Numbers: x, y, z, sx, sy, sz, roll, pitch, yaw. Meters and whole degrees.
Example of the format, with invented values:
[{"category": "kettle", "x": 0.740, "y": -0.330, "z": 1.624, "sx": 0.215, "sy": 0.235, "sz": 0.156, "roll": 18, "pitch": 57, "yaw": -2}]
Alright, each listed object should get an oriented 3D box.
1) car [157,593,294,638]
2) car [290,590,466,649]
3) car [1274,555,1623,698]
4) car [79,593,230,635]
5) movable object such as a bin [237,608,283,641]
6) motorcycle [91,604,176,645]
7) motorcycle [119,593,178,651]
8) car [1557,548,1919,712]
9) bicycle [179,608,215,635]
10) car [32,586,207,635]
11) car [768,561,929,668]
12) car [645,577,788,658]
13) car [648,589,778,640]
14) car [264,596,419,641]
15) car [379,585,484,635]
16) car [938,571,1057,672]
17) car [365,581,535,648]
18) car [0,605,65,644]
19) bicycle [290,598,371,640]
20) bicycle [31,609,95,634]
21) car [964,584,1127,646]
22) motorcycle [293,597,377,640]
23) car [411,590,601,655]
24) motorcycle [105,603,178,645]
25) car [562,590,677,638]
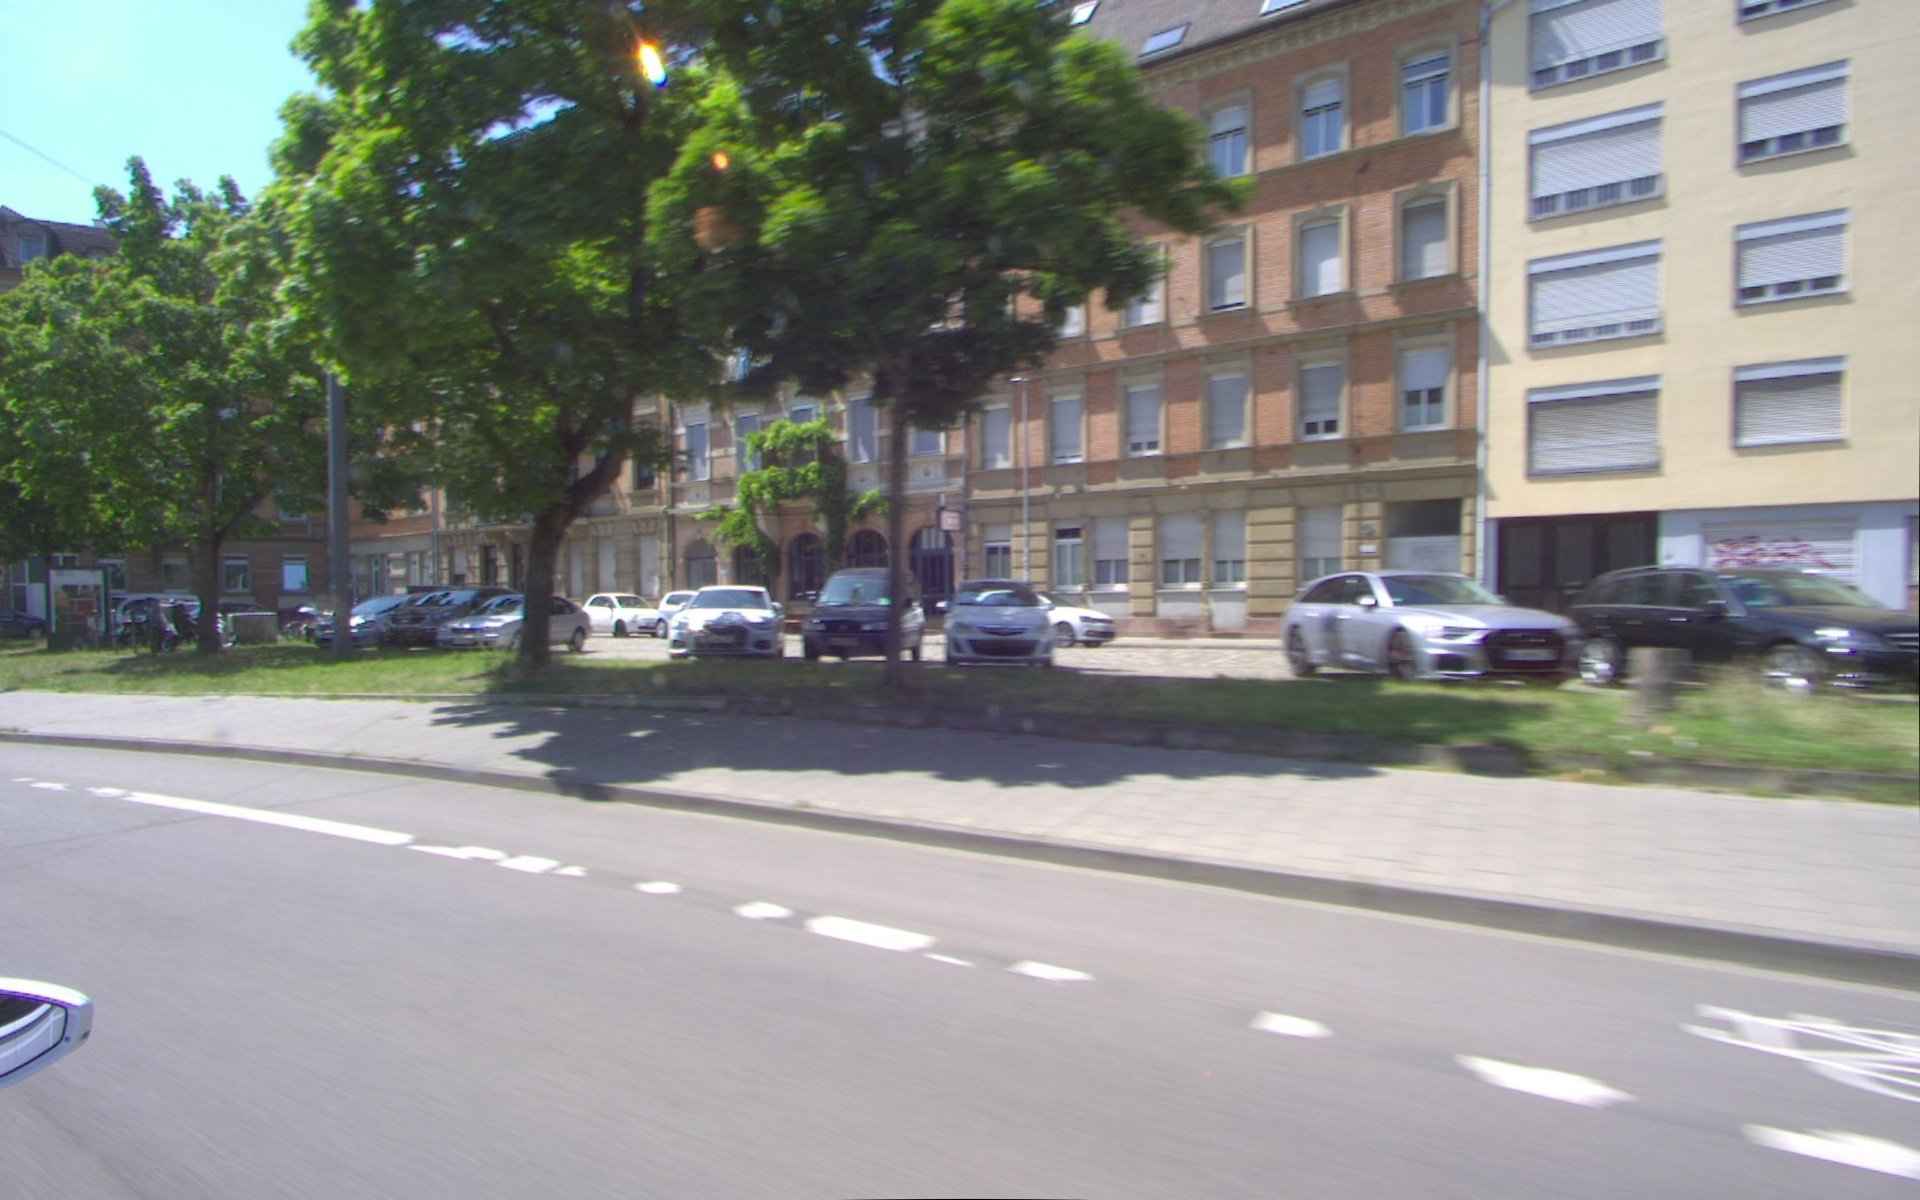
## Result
[{"category": "car", "x": -24.810, "y": 0.512, "z": 33.983, "sx": 1.576, "sy": 1.451, "sz": 3.869, "roll": 0, "pitch": -1, "yaw": 5}, {"category": "car", "x": -14.797, "y": 0.483, "z": 25.775, "sx": 1.552, "sy": 1.394, "sz": 4.347, "roll": 0, "pitch": -1, "yaw": 8}, {"category": "car", "x": 5.725, "y": 0.305, "z": 12.557, "sx": 1.934, "sy": 1.446, "sz": 4.693, "roll": 0, "pitch": -1, "yaw": -2}, {"category": "car", "x": -27.517, "y": 0.482, "z": 34.384, "sx": 1.725, "sy": 1.349, "sz": 4.000, "roll": 0, "pitch": -1, "yaw": 7}, {"category": "movable object such as a bin", "x": -19.979, "y": 0.693, "z": 28.573, "sx": 0.980, "sy": 0.949, "sz": 0.694, "roll": 0, "pitch": 0, "yaw": -45}, {"category": "motorcycle", "x": -23.635, "y": 0.705, "z": 28.668, "sx": 0.520, "sy": 1.135, "sz": 1.821, "roll": 0, "pitch": 0, "yaw": 27}, {"category": "motorcycle", "x": -20.829, "y": 0.553, "z": 25.699, "sx": 1.831, "sy": 1.432, "sz": 0.673, "roll": 0, "pitch": 2, "yaw": 36}, {"category": "car", "x": 8.660, "y": 0.282, "z": 10.559, "sx": 1.934, "sy": 1.356, "sz": 4.432, "roll": 0, "pitch": -1, "yaw": -3}, {"category": "bicycle", "x": -23.420, "y": 0.662, "z": 30.754, "sx": 0.491, "sy": 0.816, "sz": 1.452, "roll": 0, "pitch": 0, "yaw": -22}, {"category": "car", "x": -29.734, "y": 0.384, "z": 35.660, "sx": 1.800, "sy": 1.621, "sz": 4.874, "roll": 0, "pitch": -1, "yaw": 7}, {"category": "car", "x": -1.855, "y": 0.256, "z": 17.955, "sx": 1.934, "sy": 1.683, "sz": 3.999, "roll": 0, "pitch": -1, "yaw": 8}, {"category": "car", "x": -4.466, "y": 0.326, "z": 19.109, "sx": 2.108, "sy": 1.330, "sz": 4.786, "roll": 0, "pitch": -1, "yaw": -7}, {"category": "car", "x": -7.909, "y": 0.457, "z": 31.959, "sx": 3.943, "sy": 1.550, "sz": 1.833, "roll": 0, "pitch": -1, "yaw": 32}, {"category": "car", "x": -20.297, "y": 0.604, "z": 32.959, "sx": 1.935, "sy": 1.394, "sz": 3.967, "roll": 0, "pitch": -1, "yaw": 42}, {"category": "car", "x": -21.607, "y": 0.417, "z": 40.893, "sx": 4.590, "sy": 1.929, "sz": 1.914, "roll": 0, "pitch": 0, "yaw": 35}, {"category": "car", "x": 0.588, "y": 0.327, "z": 16.163, "sx": 1.679, "sy": 1.418, "sz": 4.000, "roll": 0, "pitch": -1, "yaw": 2}, {"category": "car", "x": -12.342, "y": 0.351, "z": 24.563, "sx": 1.763, "sy": 1.489, "sz": 4.092, "roll": 0, "pitch": -1, "yaw": 7}, {"category": "car", "x": -40.863, "y": 1.035, "z": 42.428, "sx": 4.067, "sy": 1.646, "sz": 1.688, "roll": 0, "pitch": 0, "yaw": -27}, {"category": "bicycle", "x": -19.621, "y": 0.589, "z": 31.262, "sx": 0.625, "sy": 1.252, "sz": 2.066, "roll": 0, "pitch": 0, "yaw": 44}, {"category": "bicycle", "x": -34.314, "y": 0.813, "z": 38.348, "sx": 0.498, "sy": 0.947, "sz": 2.051, "roll": 0, "pitch": -1, "yaw": 3}, {"category": "car", "x": 2.118, "y": 0.374, "z": 25.044, "sx": 3.664, "sy": 1.438, "sz": 1.775, "roll": 0, "pitch": -1, "yaw": 33}, {"category": "motorcycle", "x": -18.807, "y": 0.537, "z": 30.161, "sx": 2.062, "sy": 1.252, "sz": 0.805, "roll": 0, "pitch": 0, "yaw": -41}, {"category": "car", "x": -10.165, "y": 0.486, "z": 22.778, "sx": 1.935, "sy": 1.330, "sz": 3.997, "roll": 0, "pitch": -1, "yaw": 12}, {"category": "motorcycle", "x": -22.885, "y": 0.665, "z": 28.003, "sx": 0.471, "sy": 1.135, "sz": 1.517, "roll": 0, "pitch": 0, "yaw": 33}, {"category": "car", "x": -11.730, "y": 0.485, "z": 34.395, "sx": 3.947, "sy": 1.550, "sz": 1.831, "roll": 0, "pitch": -1, "yaw": 36}]
